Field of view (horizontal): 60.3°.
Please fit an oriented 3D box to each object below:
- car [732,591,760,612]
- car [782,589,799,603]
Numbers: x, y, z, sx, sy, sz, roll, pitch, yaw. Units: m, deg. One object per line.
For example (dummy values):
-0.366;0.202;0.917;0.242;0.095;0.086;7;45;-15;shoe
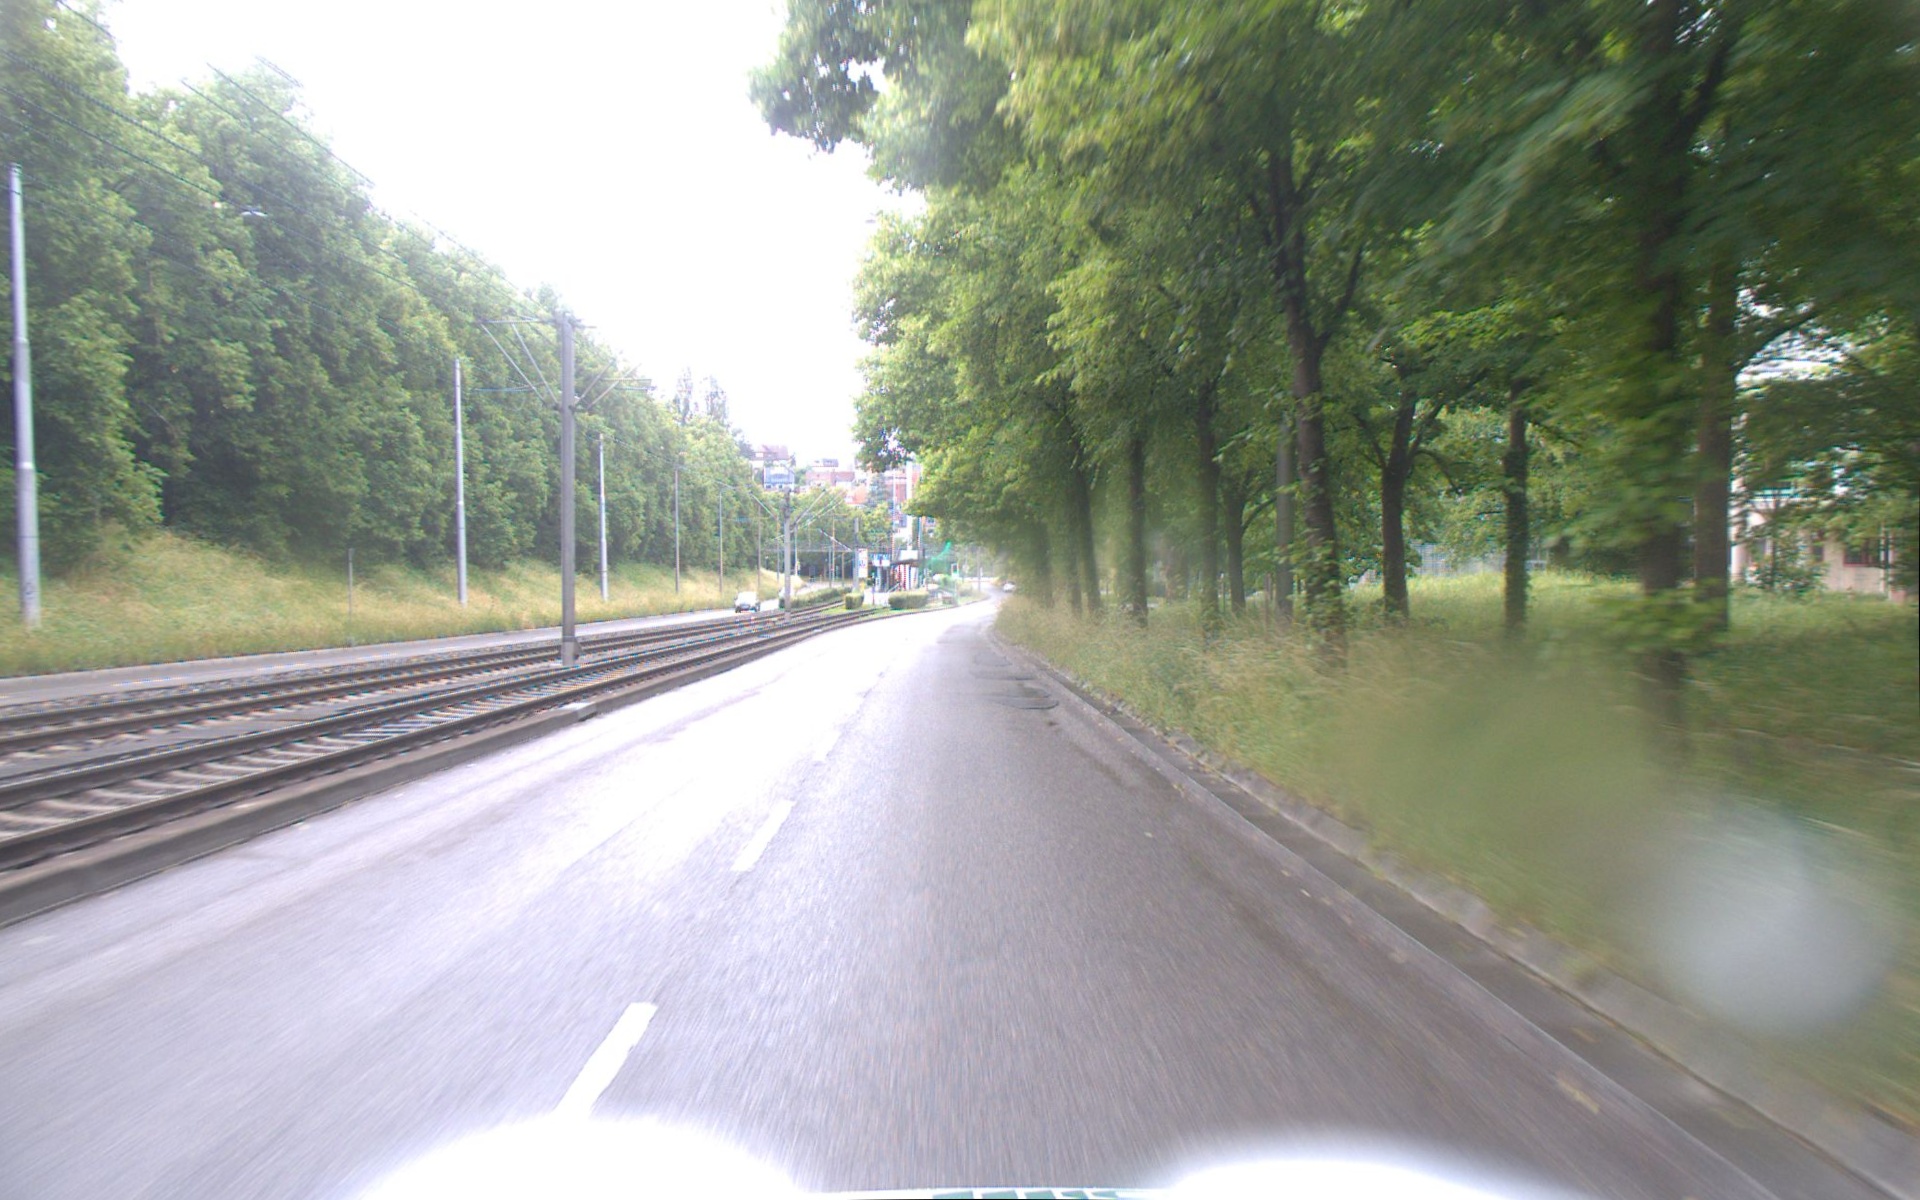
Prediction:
-15.935;0.132;123.211;1.636;1.468;4.025;-2;0;-2;car
-19.970;-0.478;194.769;1.749;1.579;3.959;-2;0;-3;car
